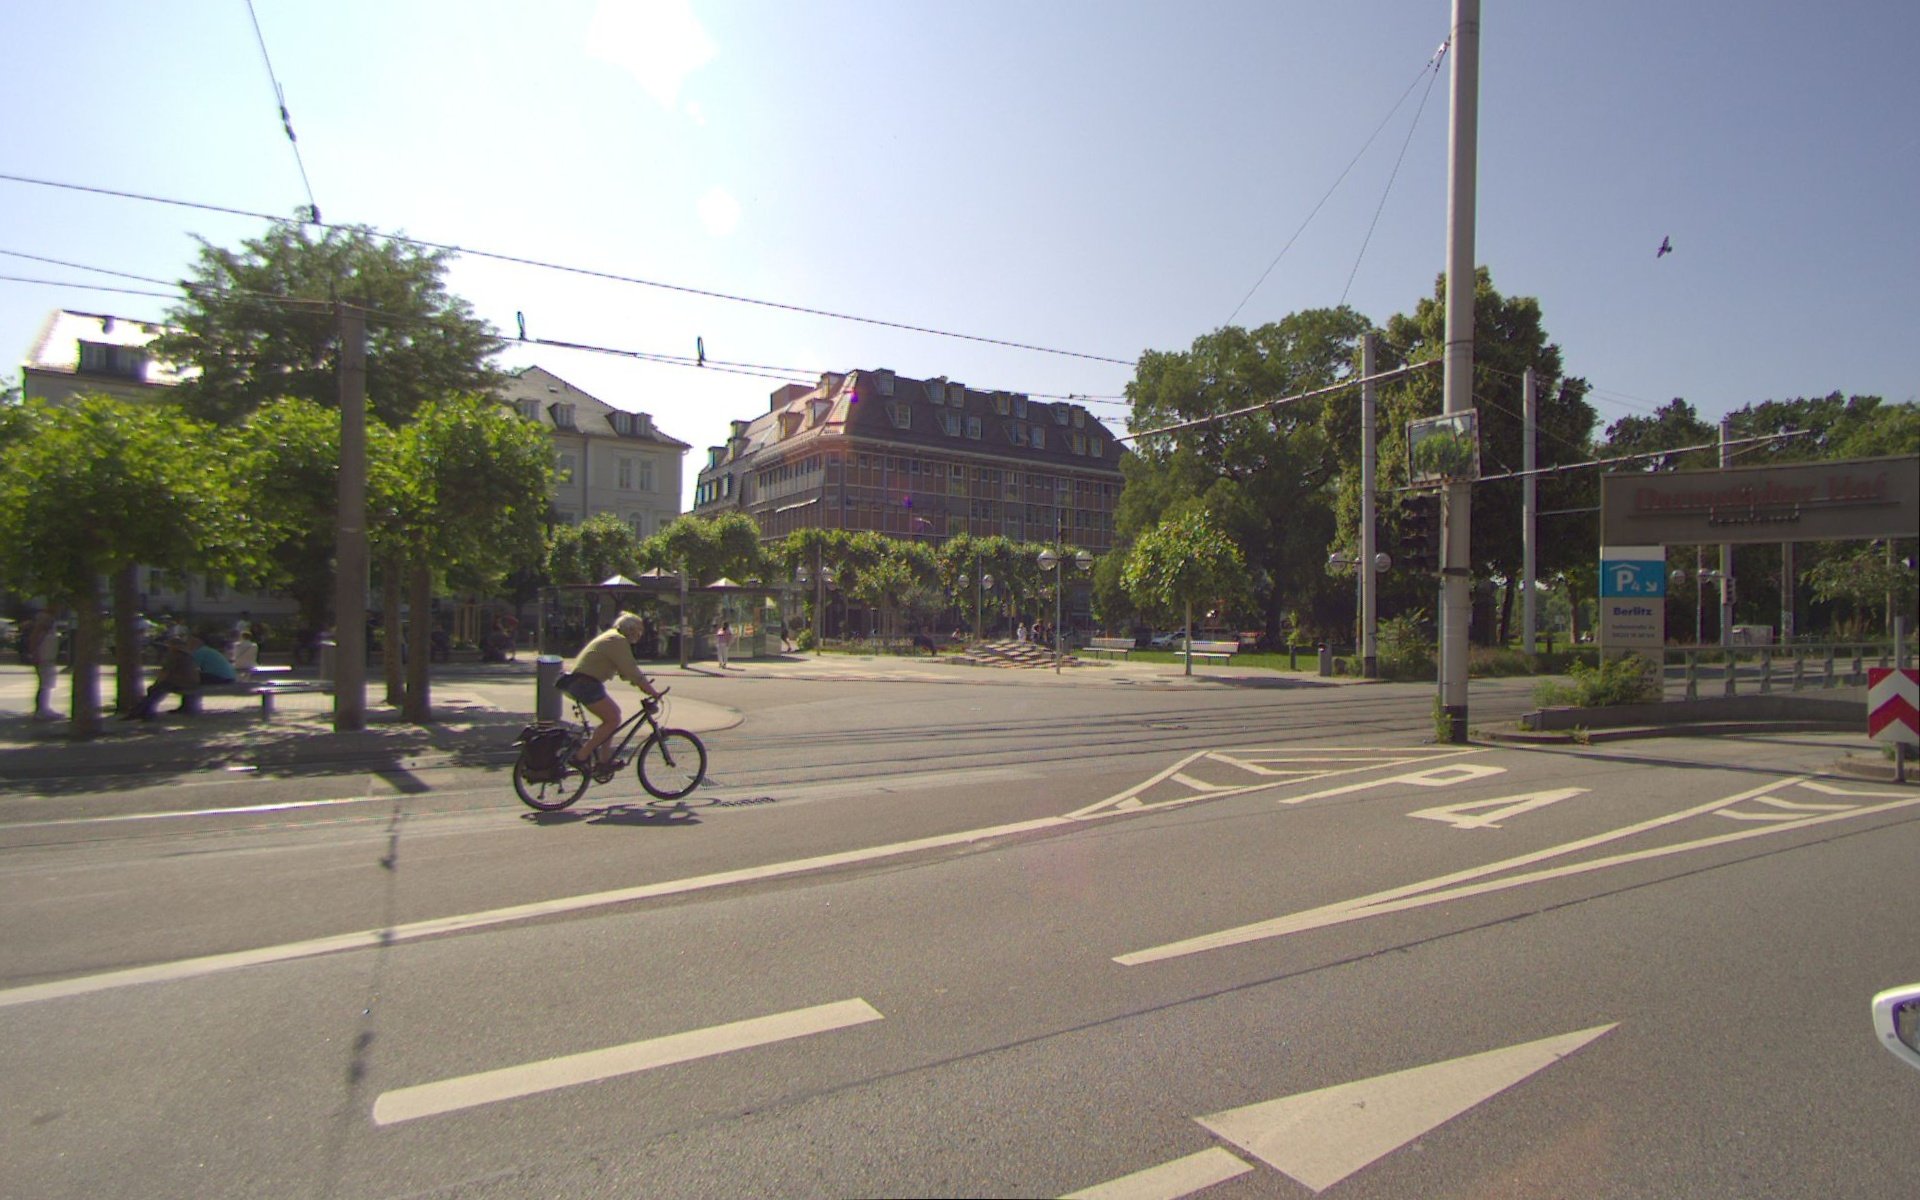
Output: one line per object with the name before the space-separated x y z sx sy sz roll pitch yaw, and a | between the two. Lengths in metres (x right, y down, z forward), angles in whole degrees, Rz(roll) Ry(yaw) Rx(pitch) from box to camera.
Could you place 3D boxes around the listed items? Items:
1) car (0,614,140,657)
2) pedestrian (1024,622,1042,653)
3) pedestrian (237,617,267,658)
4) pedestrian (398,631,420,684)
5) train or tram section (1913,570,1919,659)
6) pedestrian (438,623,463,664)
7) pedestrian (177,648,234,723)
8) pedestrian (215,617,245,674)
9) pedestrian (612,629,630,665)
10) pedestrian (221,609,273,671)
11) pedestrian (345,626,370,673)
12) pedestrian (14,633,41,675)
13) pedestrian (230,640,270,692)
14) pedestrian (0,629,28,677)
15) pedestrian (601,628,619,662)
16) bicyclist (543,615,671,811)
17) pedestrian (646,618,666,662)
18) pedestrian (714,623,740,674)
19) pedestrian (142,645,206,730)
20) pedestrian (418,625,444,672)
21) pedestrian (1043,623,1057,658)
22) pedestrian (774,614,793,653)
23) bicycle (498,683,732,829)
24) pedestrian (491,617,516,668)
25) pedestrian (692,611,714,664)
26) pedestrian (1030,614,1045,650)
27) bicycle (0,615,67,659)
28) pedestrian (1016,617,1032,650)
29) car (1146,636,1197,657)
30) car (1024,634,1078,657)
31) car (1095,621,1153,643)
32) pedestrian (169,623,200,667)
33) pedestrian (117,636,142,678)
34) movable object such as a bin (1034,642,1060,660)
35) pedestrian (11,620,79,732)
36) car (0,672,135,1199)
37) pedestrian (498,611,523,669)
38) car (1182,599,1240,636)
car | -35.071 1.391 39.735 3.962 1.528 1.743 1 1 -37
pedestrian | 3.564 1.826 48.940 0.656 1.512 0.520 1 -3 -39
pedestrian | -22.738 1.207 32.268 0.612 1.279 0.580 0 -2 -17
pedestrian | -18.636 1.930 33.987 0.612 1.751 0.736 1 -2 -31
train or tram section | 42.378 0.693 41.616 6.034 3.629 2.600 1 1 -31
pedestrian | -17.894 1.536 35.298 0.614 1.404 0.733 1 -3 -42
pedestrian | -12.444 1.399 16.585 0.745 1.186 0.670 1 -3 -37
pedestrian | -23.481 1.453 32.308 0.612 1.802 0.580 0 -2 -17
pedestrian | -13.248 1.825 39.245 0.591 1.409 0.565 1 -2 -31
pedestrian | -21.359 1.207 30.122 1.064 1.817 0.964 0 -2 -21
pedestrian | -16.717 1.374 27.873 0.398 1.279 0.480 -3 -3 41
pedestrian | -28.631 1.653 30.845 0.447 1.279 0.515 0 -2 -26
pedestrian | -14.415 1.332 20.411 0.573 1.014 0.632 0 -3 -28
pedestrian | -29.738 1.655 31.499 0.674 1.484 0.619 0 -3 -35
pedestrian | -14.189 1.835 40.766 0.591 1.377 0.565 1 -2 -31
bicyclist | -3.190 0.982 9.060 0.893 1.643 0.812 0 -4 -35
pedestrian | -12.192 1.590 40.291 0.612 1.751 0.736 1 -2 -31
pedestrian | -7.957 1.658 34.357 0.697 1.728 0.673 1 -2 -31
pedestrian | -12.132 1.337 15.529 0.745 1.263 0.670 0 -3 -37
pedestrian | -18.368 1.670 34.888 0.614 1.619 0.733 1 -3 -42
pedestrian | 4.229 1.899 47.020 0.491 1.630 0.410 1 -3 -40
pedestrian | -9.333 1.792 53.181 0.823 2.034 0.598 1 -2 -33
bicycle | -3.096 1.346 9.093 1.855 1.135 0.812 2 -3 -35
pedestrian | -16.125 1.506 35.493 0.537 1.771 0.630 -2 -3 37
pedestrian | -9.920 1.461 38.819 0.726 2.034 0.627 0 -2 -25
pedestrian | 3.553 1.467 46.098 0.460 1.630 0.449 0 -2 -30
bicycle | -32.601 1.280 34.460 0.804 1.397 3.155 2 1 8
pedestrian | 3.145 1.662 49.493 0.616 1.630 0.488 1 -3 -40
car | 16.852 3.697 79.865 3.962 1.528 1.743 1 1 -37
car | 6.925 3.430 76.171 3.962 1.528 1.743 1 1 -37
car | 13.095 2.541 80.032 4.798 1.685 1.743 1 1 -37
pedestrian | -23.028 1.332 29.829 0.573 1.279 0.620 0 -2 -21
pedestrian | -26.056 1.788 31.517 0.446 1.279 0.517 0 -2 -18
movable object such as a bin | 3.911 2.290 45.069 0.790 0.764 0.903 0 -3 -30
pedestrian | -13.687 1.130 15.024 0.566 1.630 0.602 -2 -2 31
car | -3.050 0.837 0.365 3.952 1.494 1.769 1 -2 -30
pedestrian | -16.142 1.434 36.095 0.537 2.034 0.630 -2 -2 37
car | 23.698 1.623 94.749 5.359 3.361 2.115 1 1 -32
